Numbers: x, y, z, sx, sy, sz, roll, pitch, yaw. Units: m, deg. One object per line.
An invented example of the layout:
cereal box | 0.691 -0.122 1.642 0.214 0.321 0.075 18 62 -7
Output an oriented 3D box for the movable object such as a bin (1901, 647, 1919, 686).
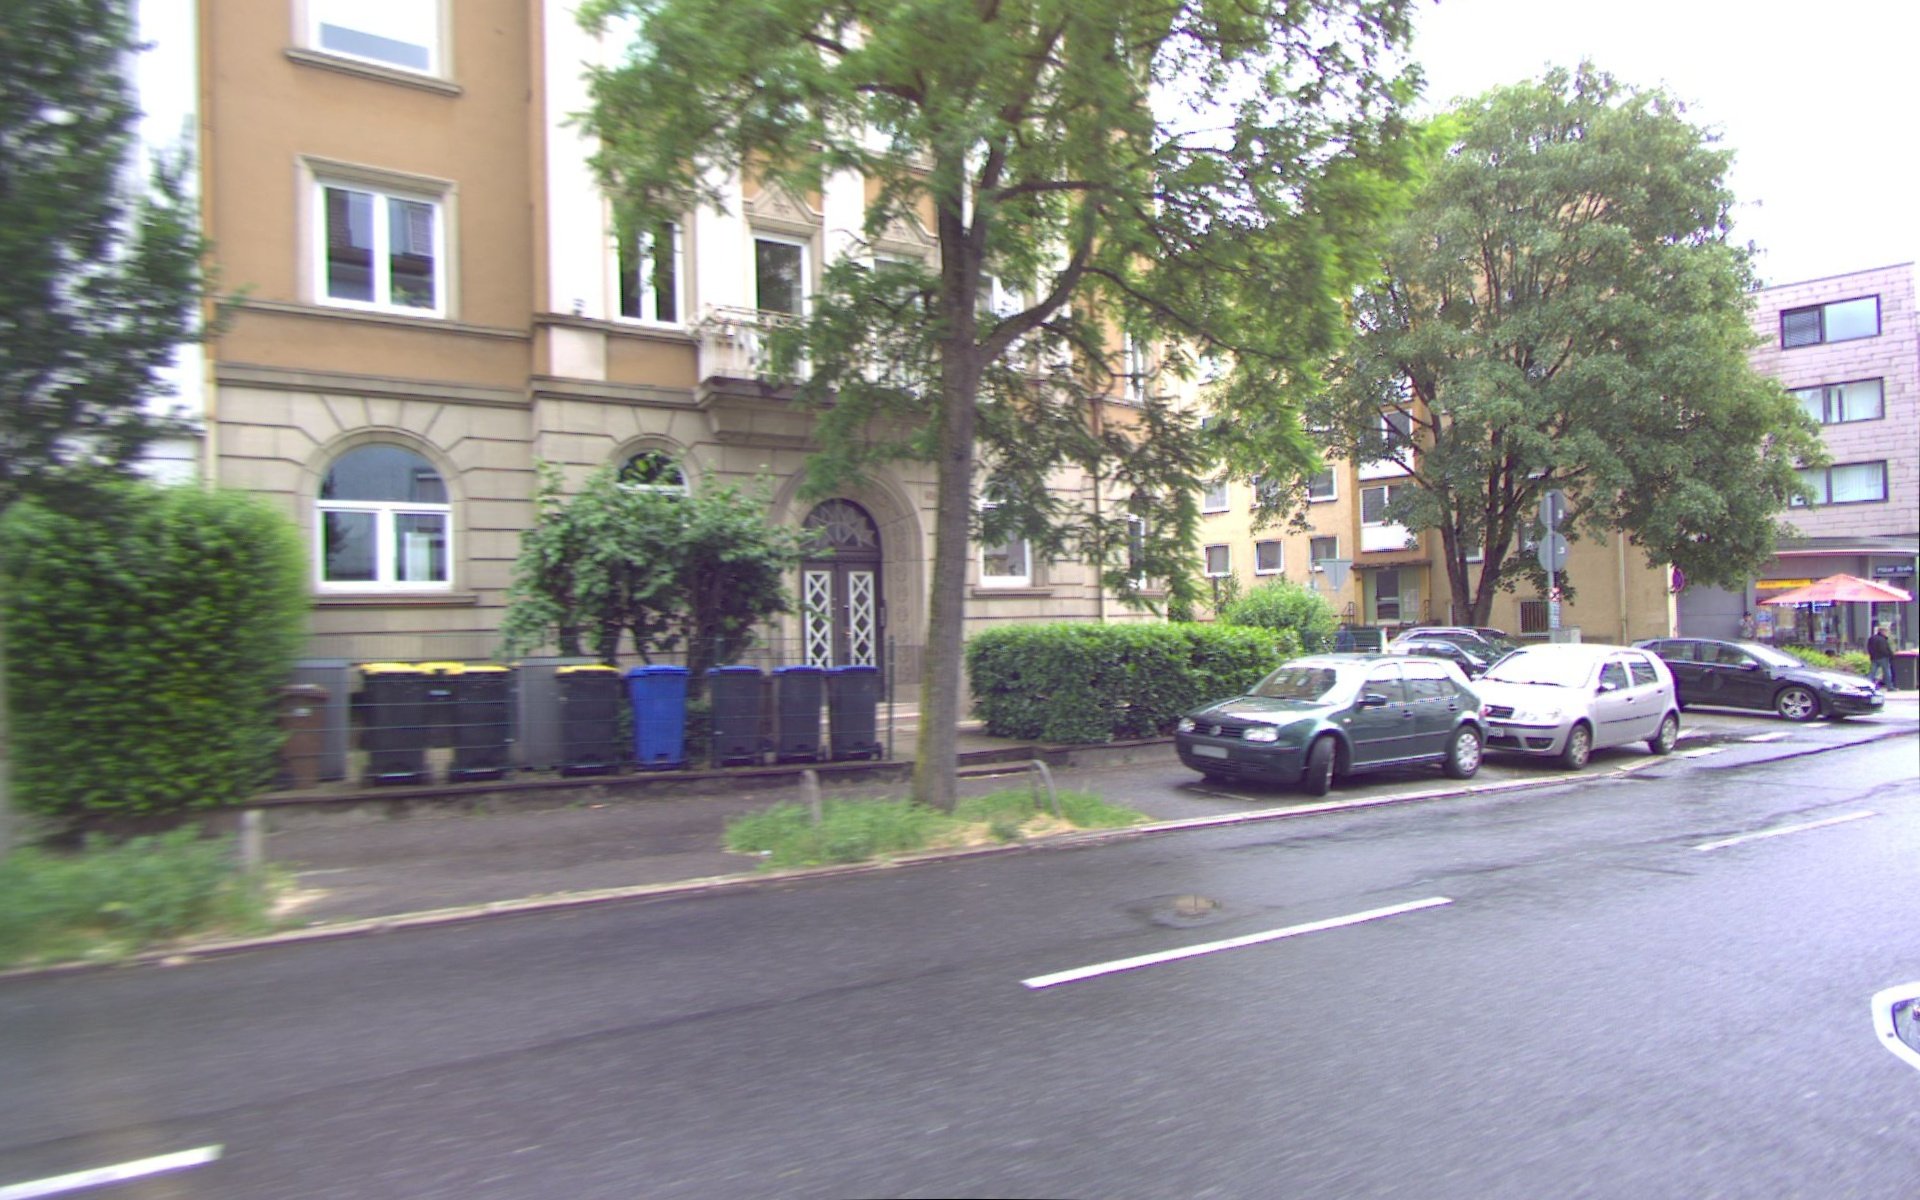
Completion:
movable object such as a bin | 27.280 1.889 28.628 0.599 1.095 0.488 2 -3 -29

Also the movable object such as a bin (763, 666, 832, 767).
movable object such as a bin | -1.784 1.266 11.044 0.643 1.054 0.424 1 -2 -30

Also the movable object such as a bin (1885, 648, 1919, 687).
movable object such as a bin | 26.549 1.900 28.258 0.722 1.095 0.551 2 -3 -29

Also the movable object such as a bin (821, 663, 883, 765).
movable object such as a bin | -1.223 1.271 11.356 0.583 1.095 0.437 1 -2 -30

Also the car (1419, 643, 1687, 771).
car | 8.046 1.328 13.543 3.799 1.473 1.622 1 -2 -34

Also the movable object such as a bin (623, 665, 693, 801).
movable object such as a bin | -3.103 1.338 10.311 0.602 1.326 0.437 1 -2 -30

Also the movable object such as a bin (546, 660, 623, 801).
movable object such as a bin | -3.706 1.264 9.916 0.642 1.326 0.437 1 -2 -30

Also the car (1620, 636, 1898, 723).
car | 15.030 1.436 19.097 1.722 1.408 3.798 2 -2 -30

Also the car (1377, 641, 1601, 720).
car | 10.829 1.592 20.844 1.720 1.408 3.803 -2 -1 -27

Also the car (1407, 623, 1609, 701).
car | 12.653 1.392 23.420 1.673 1.603 3.793 -1 -1 -29

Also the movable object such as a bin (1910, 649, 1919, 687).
movable object such as a bin | 27.828 1.960 28.939 0.599 1.095 0.488 2 -3 -29

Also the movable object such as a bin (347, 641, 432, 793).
movable object such as a bin | -5.165 1.034 9.105 0.642 1.316 0.437 1 -2 -30

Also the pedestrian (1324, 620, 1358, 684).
pedestrian | 10.667 1.440 28.119 0.618 1.705 0.814 2 3 41

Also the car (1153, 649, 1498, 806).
car | 4.219 1.317 11.465 3.898 1.473 1.645 1 -2 -32

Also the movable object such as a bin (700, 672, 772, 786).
movable object such as a bin | -2.384 1.356 10.690 0.649 1.145 0.437 1 -2 -30

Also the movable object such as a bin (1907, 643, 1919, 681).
movable object such as a bin | 28.306 1.824 29.478 0.530 1.085 0.472 0 -3 7

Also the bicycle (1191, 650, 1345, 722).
bicycle | 4.890 1.338 16.121 0.799 1.060 2.325 1 -3 -38

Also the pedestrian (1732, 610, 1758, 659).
pedestrian | 29.751 1.301 38.075 0.624 1.840 0.636 -2 -2 31

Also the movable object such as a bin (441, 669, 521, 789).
movable object such as a bin | -4.497 1.189 9.428 0.642 1.053 0.437 1 -2 -30

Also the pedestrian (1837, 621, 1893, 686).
pedestrian | 25.015 1.464 27.776 0.708 1.754 1.054 0 -1 -39
